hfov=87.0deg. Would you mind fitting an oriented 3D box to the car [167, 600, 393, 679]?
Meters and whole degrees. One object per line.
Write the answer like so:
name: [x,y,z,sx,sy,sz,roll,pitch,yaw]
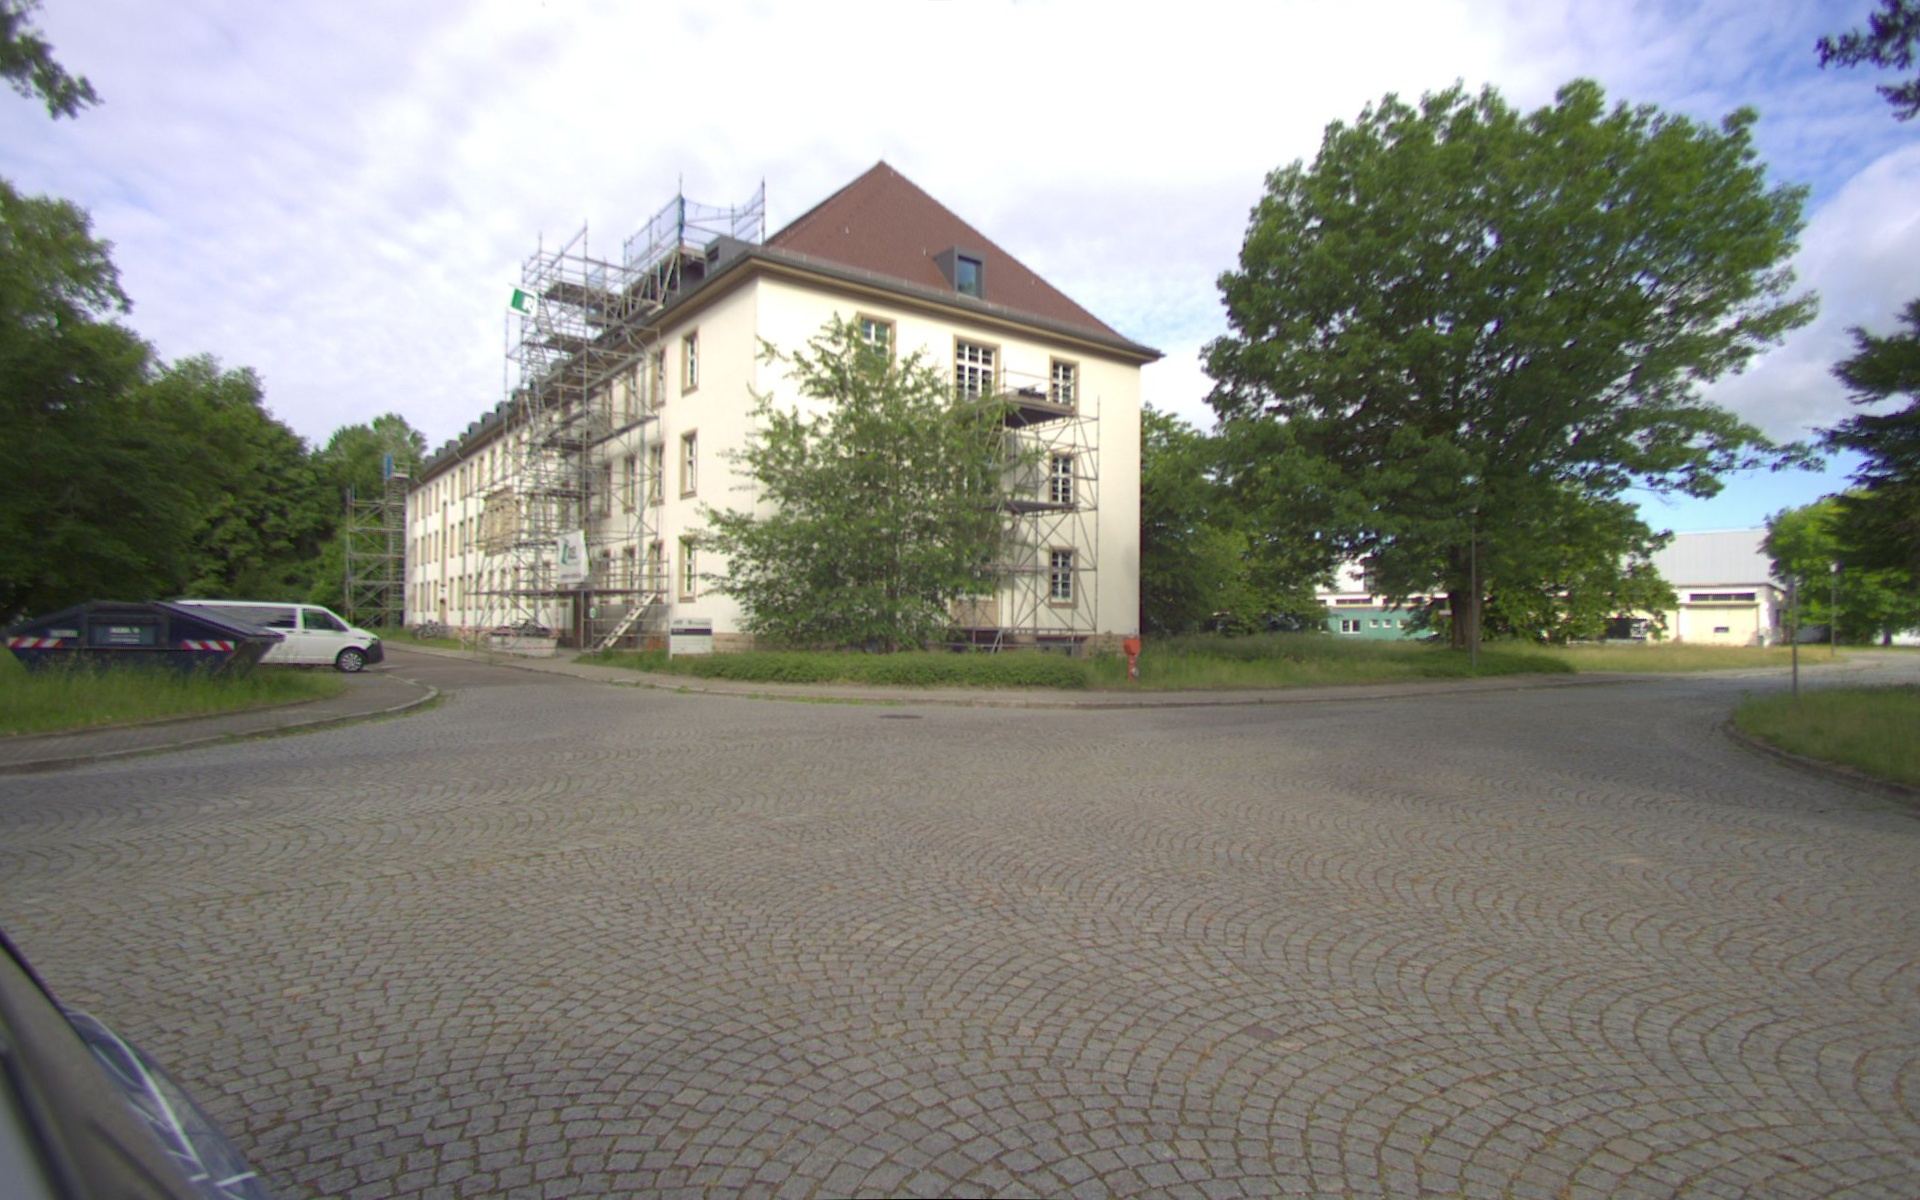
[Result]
car: [-19.373,1.190,28.981,5.133,2.076,2.193,3,-4,-37]
